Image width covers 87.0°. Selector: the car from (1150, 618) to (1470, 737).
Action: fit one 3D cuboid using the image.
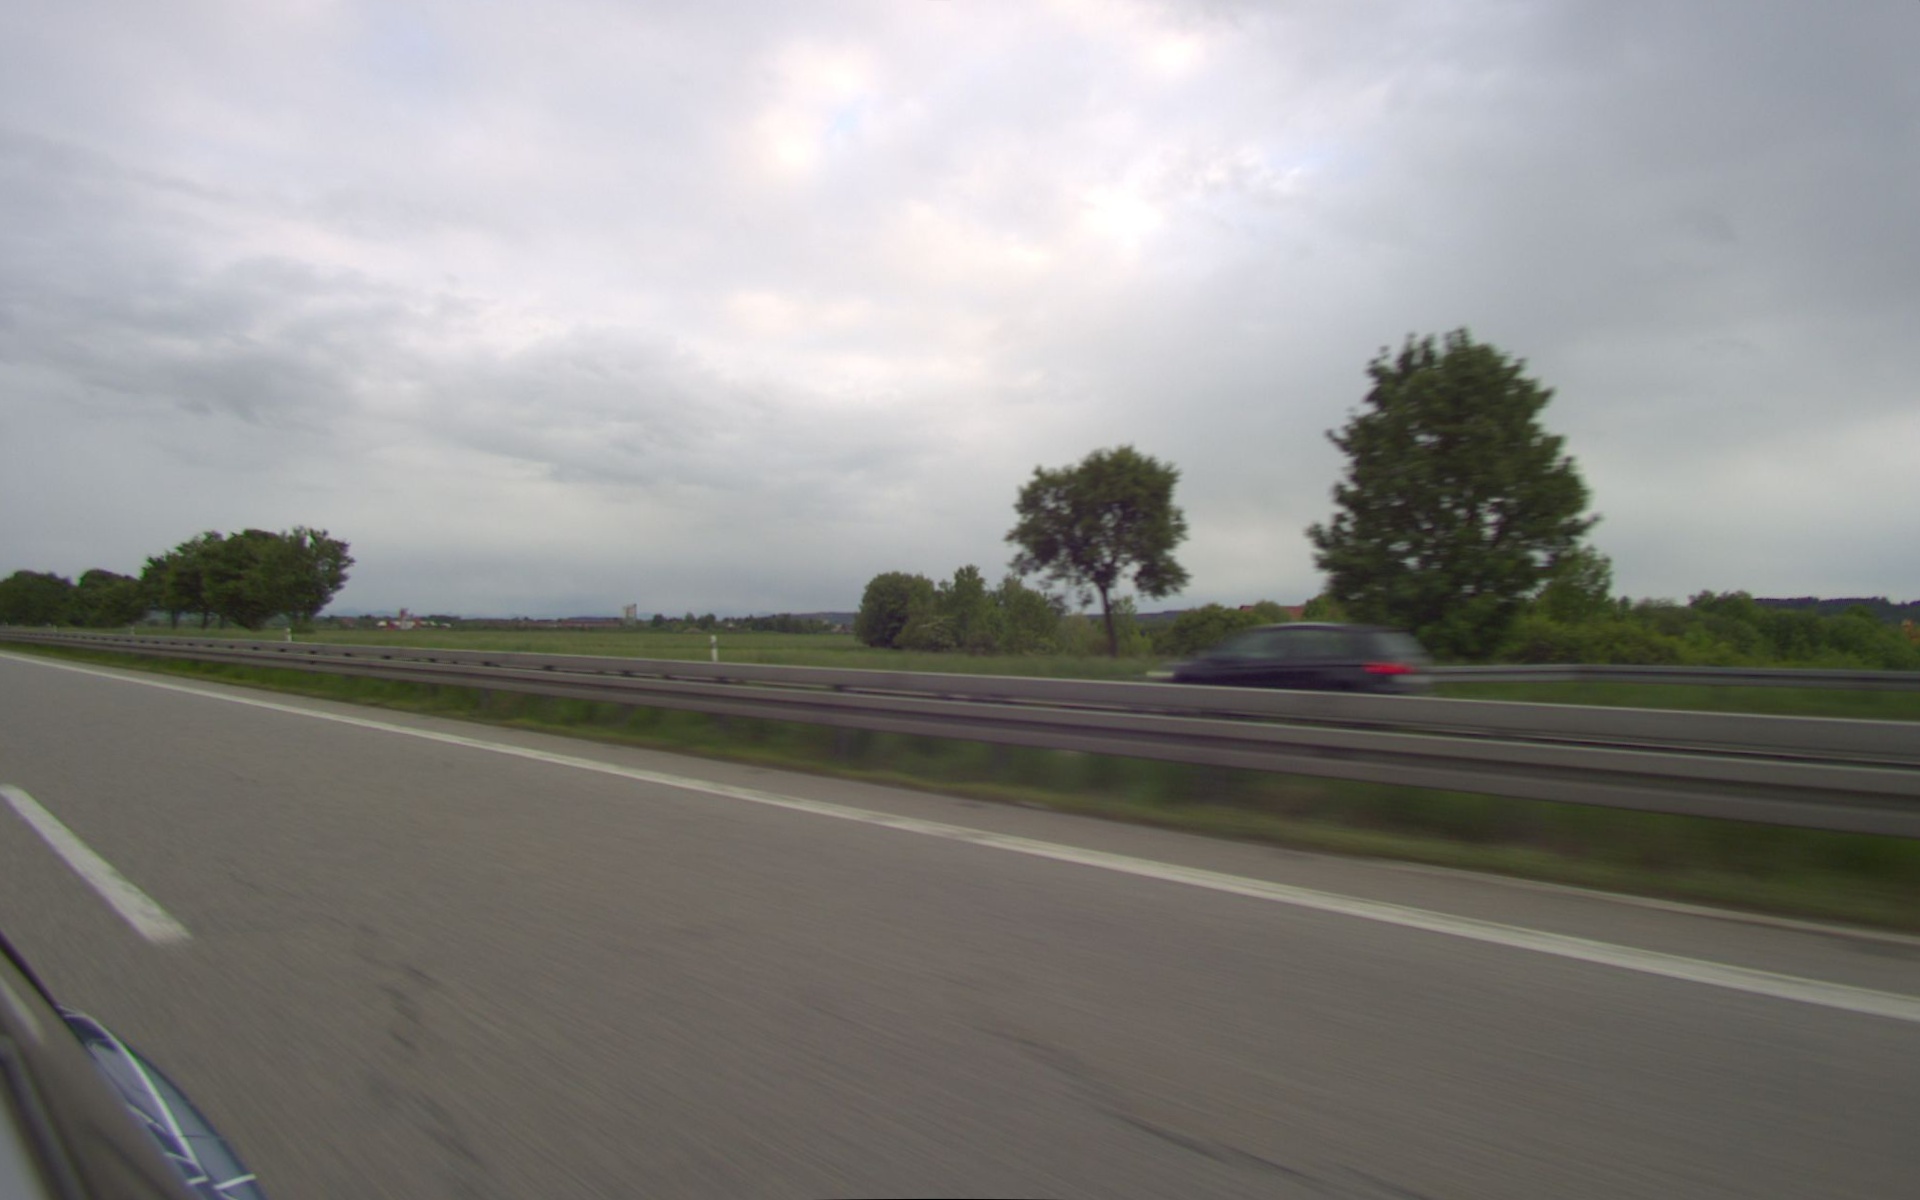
[{"bbox_3d":[5.515,1.115,16.297,4.521,1.574,1.799,-1,1,41],"label":"car"}]
